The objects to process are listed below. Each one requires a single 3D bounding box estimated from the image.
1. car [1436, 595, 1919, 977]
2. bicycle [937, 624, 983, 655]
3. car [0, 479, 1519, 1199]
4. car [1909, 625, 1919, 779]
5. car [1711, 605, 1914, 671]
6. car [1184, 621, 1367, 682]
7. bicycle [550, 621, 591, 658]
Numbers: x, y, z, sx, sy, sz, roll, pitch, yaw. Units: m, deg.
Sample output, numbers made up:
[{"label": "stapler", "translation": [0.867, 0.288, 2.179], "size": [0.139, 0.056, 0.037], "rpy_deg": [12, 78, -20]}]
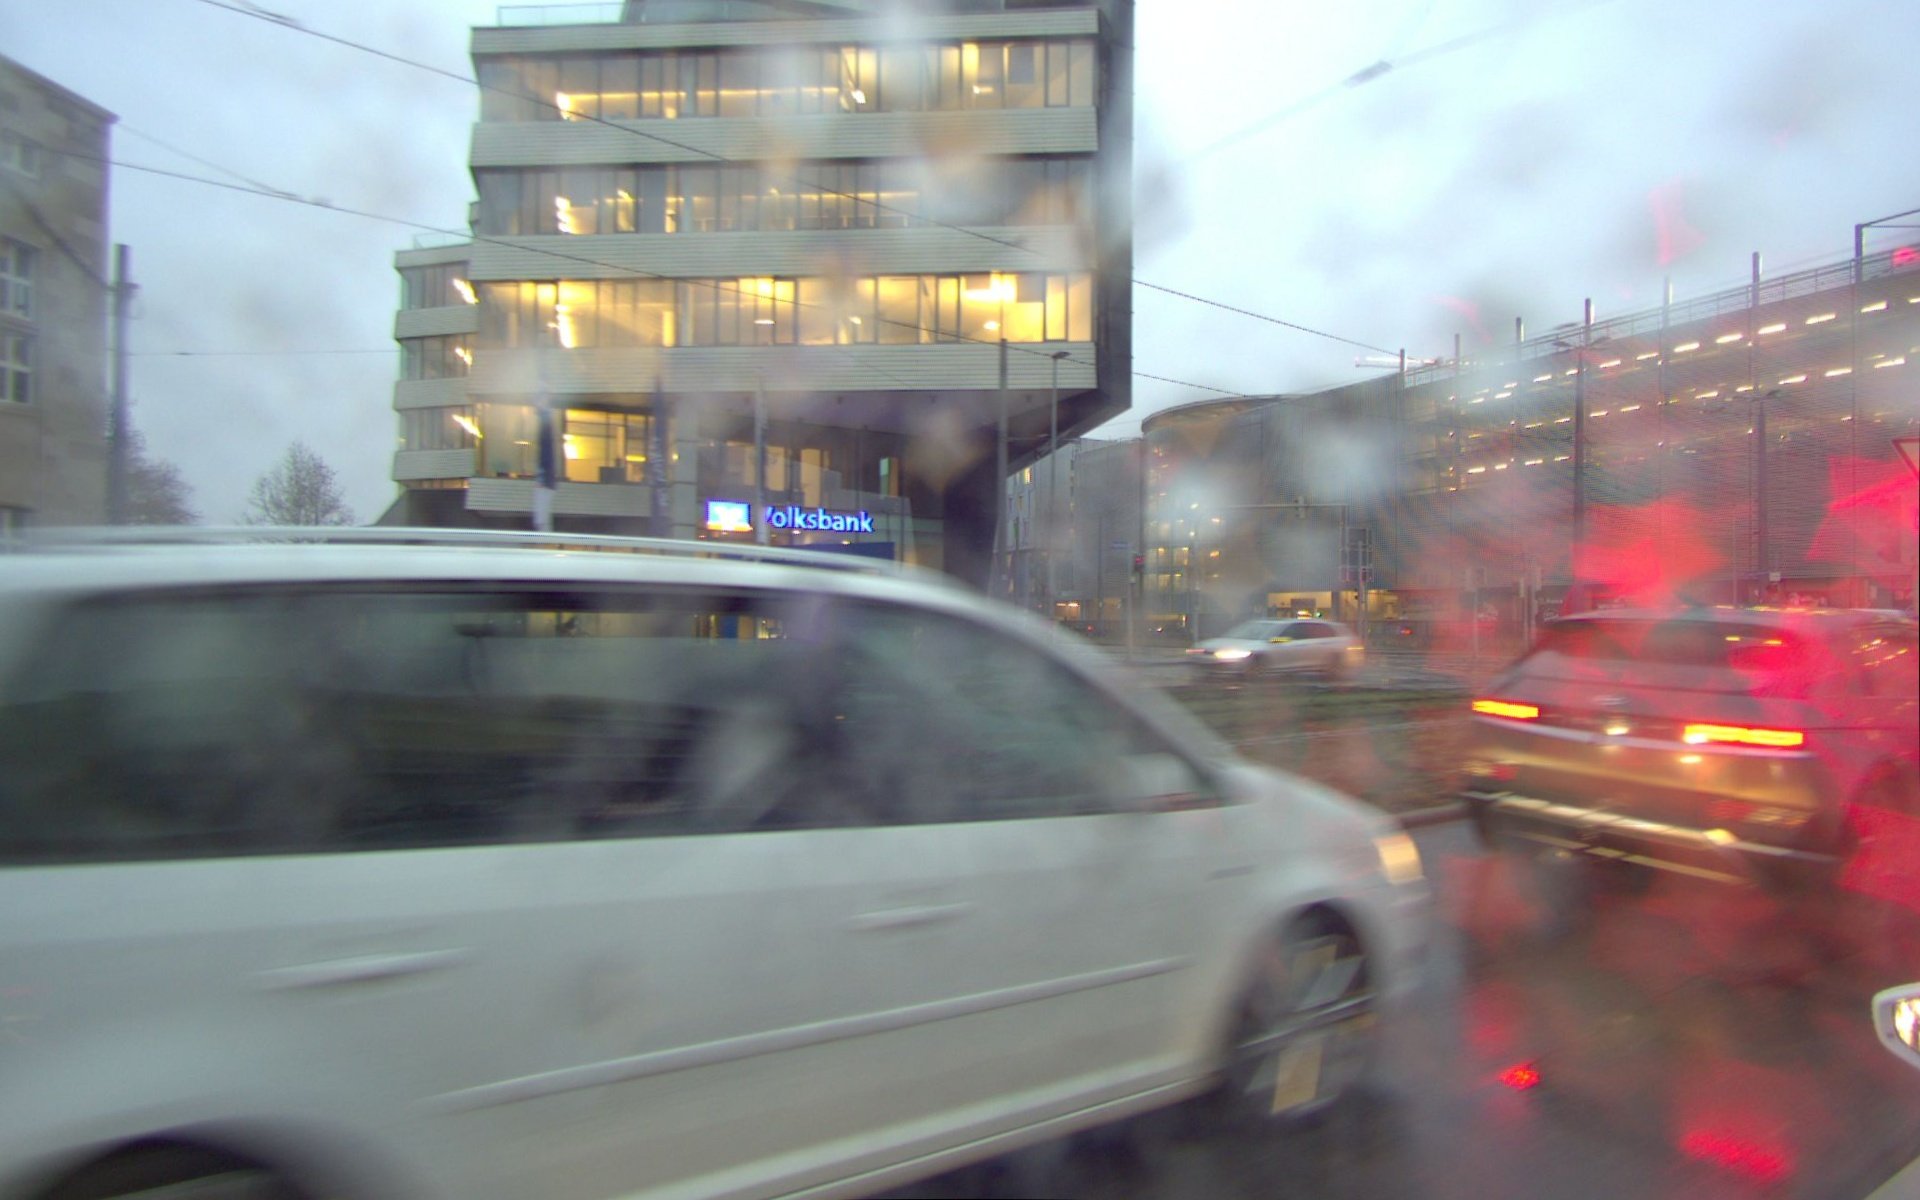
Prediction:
[{"label": "car", "translation": [4.987, 0.834, 6.177], "size": [4.316, 1.591, 1.810], "rpy_deg": [1, -2, -34]}, {"label": "bicycle", "translation": [0.009, 1.445, 37.098], "size": [1.581, 1.084, 0.638], "rpy_deg": [0, -1, -29]}, {"label": "car", "translation": [-0.498, 0.668, 2.799], "size": [4.172, 1.620, 1.664], "rpy_deg": [1, 0, -30]}, {"label": "car", "translation": [11.290, 1.017, 10.083], "size": [3.876, 1.483, 1.748], "rpy_deg": [1, -1, -33]}, {"label": "car", "translation": [25.601, 1.130, 30.222], "size": [4.871, 1.896, 1.903], "rpy_deg": [1, -1, -8]}, {"label": "car", "translation": [7.829, 1.253, 24.831], "size": [4.416, 1.404, 1.635], "rpy_deg": [1, -2, -26]}, {"label": "bicycle", "translation": [-12.316, 1.231, 31.832], "size": [0.518, 1.142, 1.499], "rpy_deg": [0, -1, 9]}]
